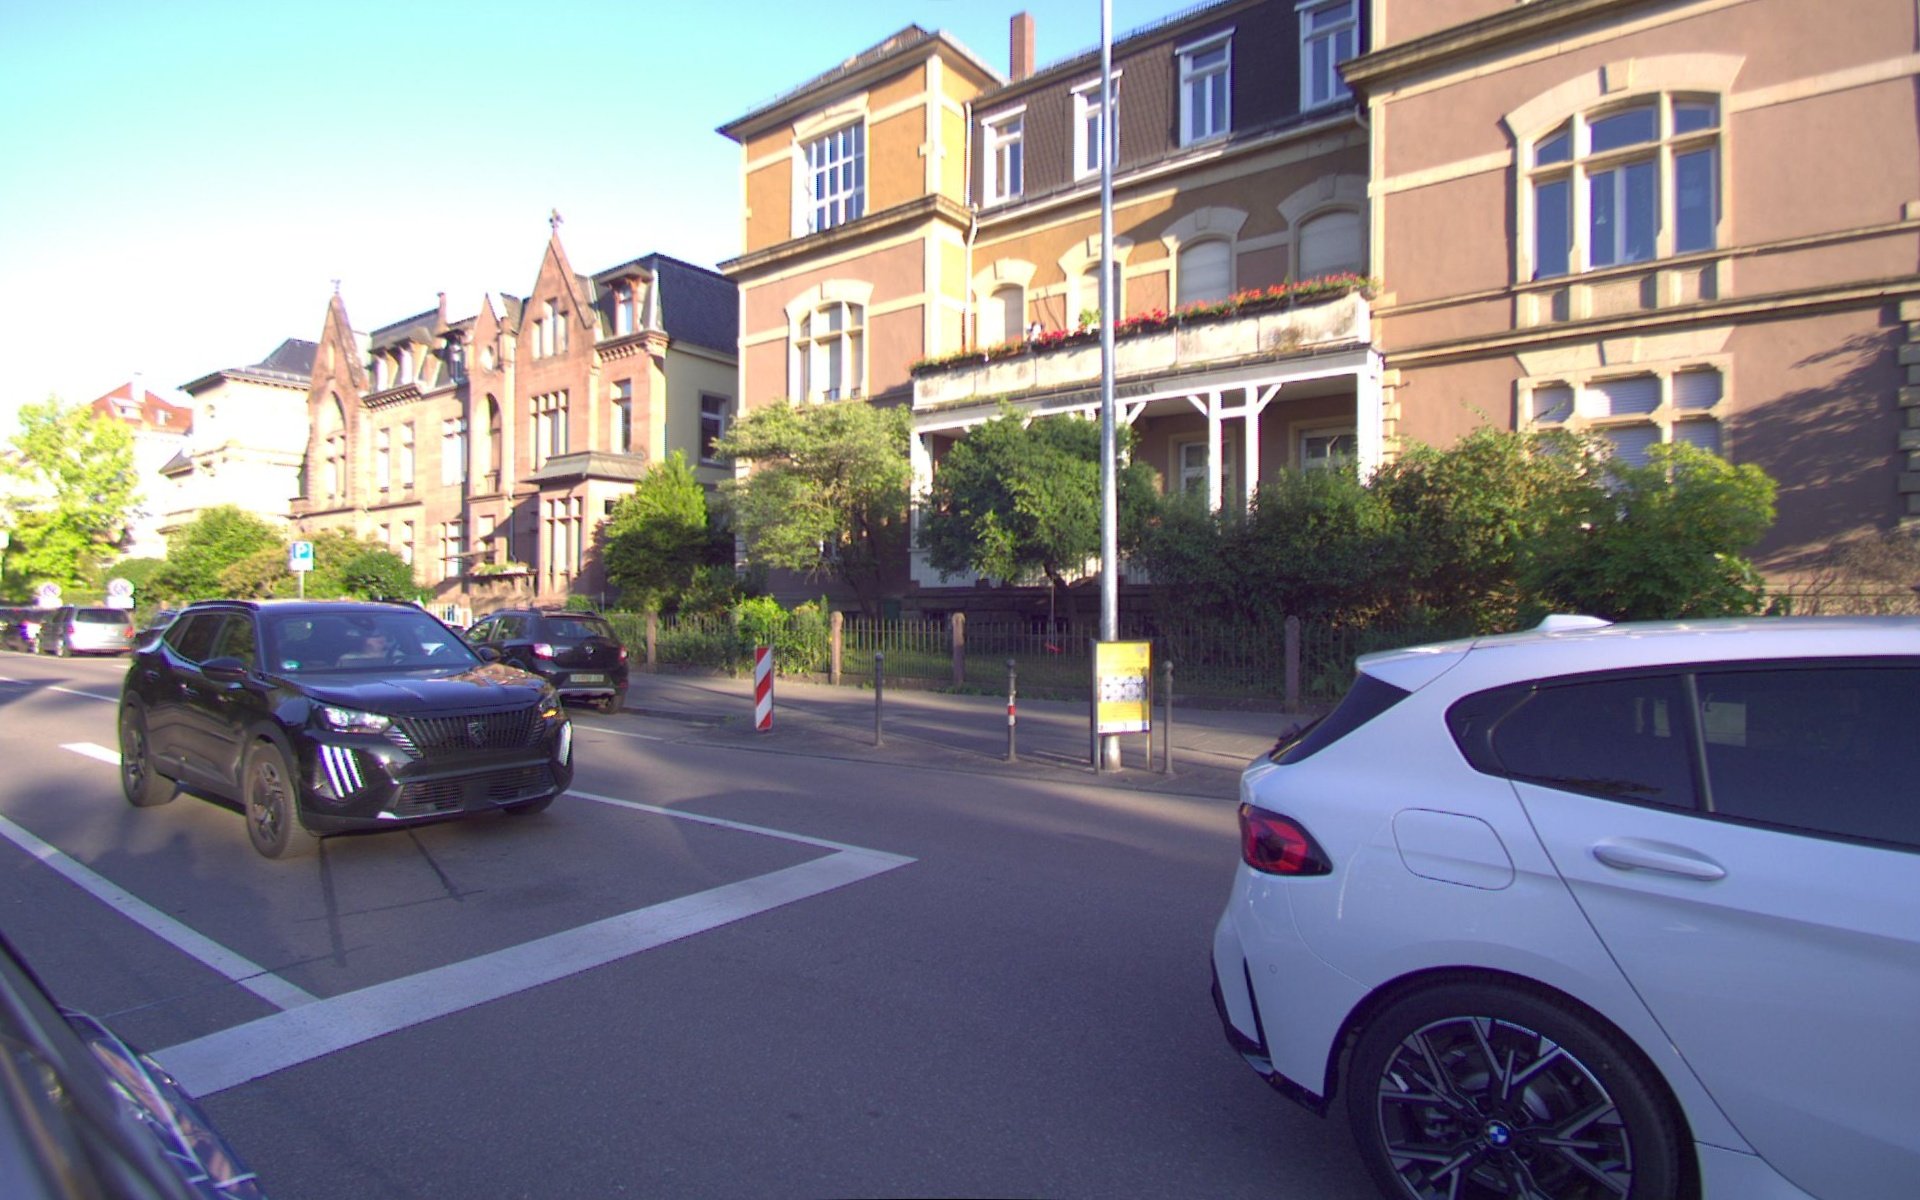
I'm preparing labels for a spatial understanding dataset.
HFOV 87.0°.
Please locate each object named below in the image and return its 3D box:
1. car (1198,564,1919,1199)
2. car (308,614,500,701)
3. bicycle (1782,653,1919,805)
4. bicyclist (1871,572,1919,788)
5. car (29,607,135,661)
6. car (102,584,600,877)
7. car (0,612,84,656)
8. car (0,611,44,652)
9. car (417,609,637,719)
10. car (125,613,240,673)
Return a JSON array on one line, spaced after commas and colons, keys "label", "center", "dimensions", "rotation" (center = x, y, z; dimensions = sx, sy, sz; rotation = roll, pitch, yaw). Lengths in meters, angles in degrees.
[{"label": "car", "center": [2.792, 0.680, 2.038], "dimensions": [4.181, 1.477, 1.736], "rotation": [-1, -1, 37]}, {"label": "car", "center": [-10.571, 1.039, 19.110], "dimensions": [4.428, 1.454, 1.588], "rotation": [-1, -4, 39]}, {"label": "bicycle", "center": [7.638, 1.005, 7.868], "dimensions": [1.900, 1.097, 0.652], "rotation": [-1, 1, 38]}, {"label": "bicyclist", "center": [7.692, 0.602, 7.820], "dimensions": [0.913, 1.645, 0.645], "rotation": [0, 1, 38]}, {"label": "car", "center": [-27.870, 1.064, 32.090], "dimensions": [3.745, 1.601, 1.696], "rotation": [-1, -2, 36]}, {"label": "car", "center": [-4.477, 0.718, 7.230], "dimensions": [3.993, 1.547, 1.663], "rotation": [-1, -1, 37]}, {"label": "car", "center": [-32.011, 1.160, 35.041], "dimensions": [3.715, 1.461, 1.696], "rotation": [-1, -2, 36]}, {"label": "car", "center": [-35.852, 1.160, 37.798], "dimensions": [3.715, 1.461, 1.696], "rotation": [-1, -2, 36]}, {"label": "car", "center": [-6.910, 0.967, 16.032], "dimensions": [3.719, 1.546, 1.611], "rotation": [-1, -4, 39]}, {"label": "car", "center": [-20.380, 1.093, 26.489], "dimensions": [3.562, 1.456, 1.611], "rotation": [-1, -2, 39]}]
